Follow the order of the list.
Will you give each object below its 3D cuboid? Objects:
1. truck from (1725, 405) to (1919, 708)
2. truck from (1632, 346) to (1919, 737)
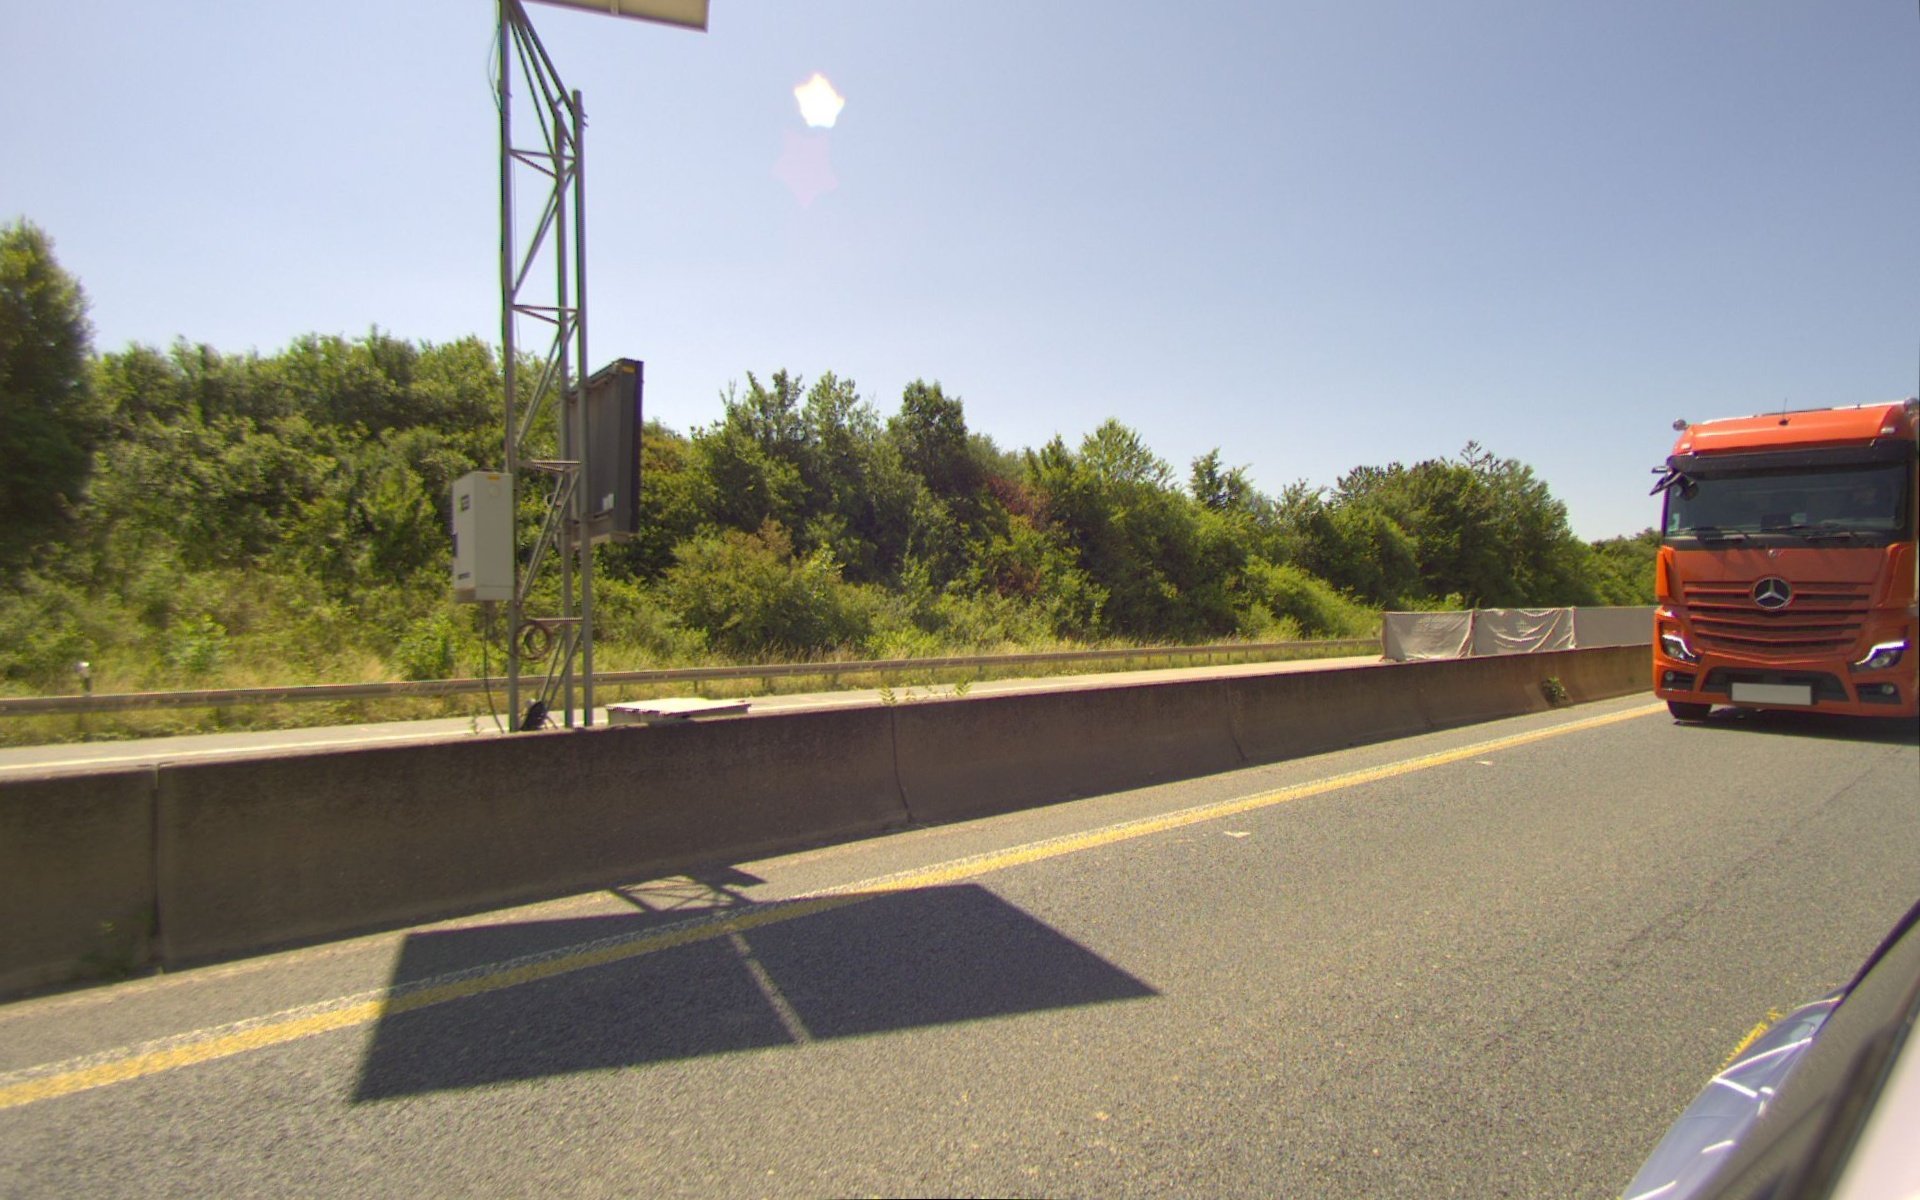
[{"bbox_3d":[17.263,-0.630,18.450,12.989,4.061,2.686,-1,0,-41],"label":"truck"},{"bbox_3d":[11.696,-0.628,13.599,6.607,4.061,2.687,0,0,-40],"label":"truck"}]
